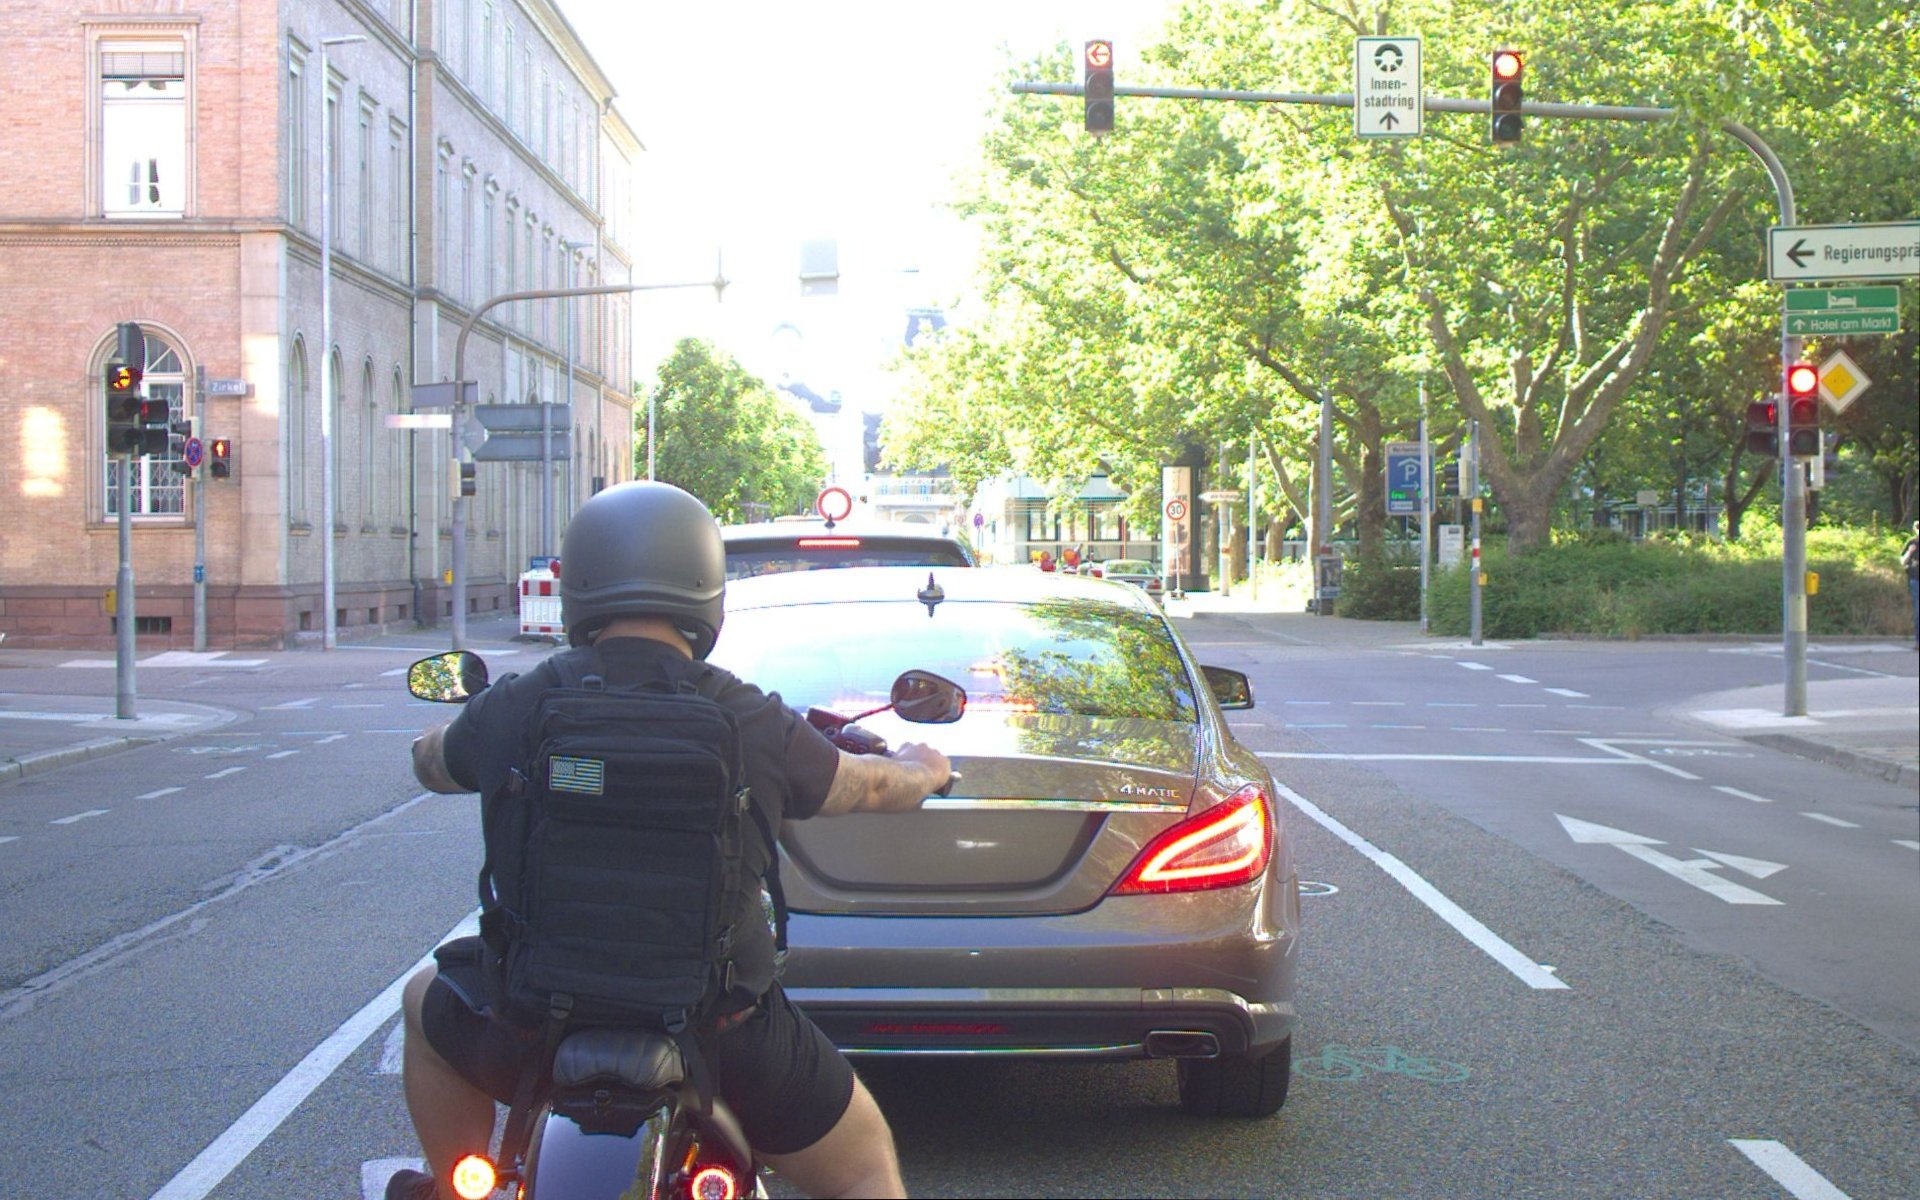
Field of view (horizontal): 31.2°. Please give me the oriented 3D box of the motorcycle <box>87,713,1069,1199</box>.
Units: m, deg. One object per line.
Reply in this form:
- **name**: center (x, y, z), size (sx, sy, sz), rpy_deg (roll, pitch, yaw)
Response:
- **motorcycle**: center (-0.468, 0.838, 5.514), size (1.118, 1.203, 2.212), rpy_deg (1, 1, 6)

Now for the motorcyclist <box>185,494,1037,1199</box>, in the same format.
- **motorcyclist**: center (-0.482, 0.635, 5.291), size (1.099, 1.560, 1.071), rpy_deg (1, 0, 6)

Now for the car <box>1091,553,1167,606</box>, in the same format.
- **car**: center (4.141, -0.514, 84.635), size (1.631, 1.255, 3.716), rpy_deg (1, 1, -1)

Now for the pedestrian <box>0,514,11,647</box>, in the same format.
- **pedestrian**: center (-13.379, -0.269, 46.757), size (0.738, 1.814, 0.643), rpy_deg (1, 0, -1)

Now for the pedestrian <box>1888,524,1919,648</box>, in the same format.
- **pedestrian**: center (13.812, -0.199, 49.382), size (0.737, 1.772, 0.728), rpy_deg (1, 0, 30)

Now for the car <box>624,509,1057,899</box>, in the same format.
- **car**: center (-0.543, 0.433, 16.957), size (1.863, 1.672, 4.000), rpy_deg (1, 1, -1)

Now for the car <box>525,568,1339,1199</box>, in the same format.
- **car**: center (-0.085, 0.640, 9.679), size (1.822, 1.432, 3.806), rpy_deg (1, 1, -1)
